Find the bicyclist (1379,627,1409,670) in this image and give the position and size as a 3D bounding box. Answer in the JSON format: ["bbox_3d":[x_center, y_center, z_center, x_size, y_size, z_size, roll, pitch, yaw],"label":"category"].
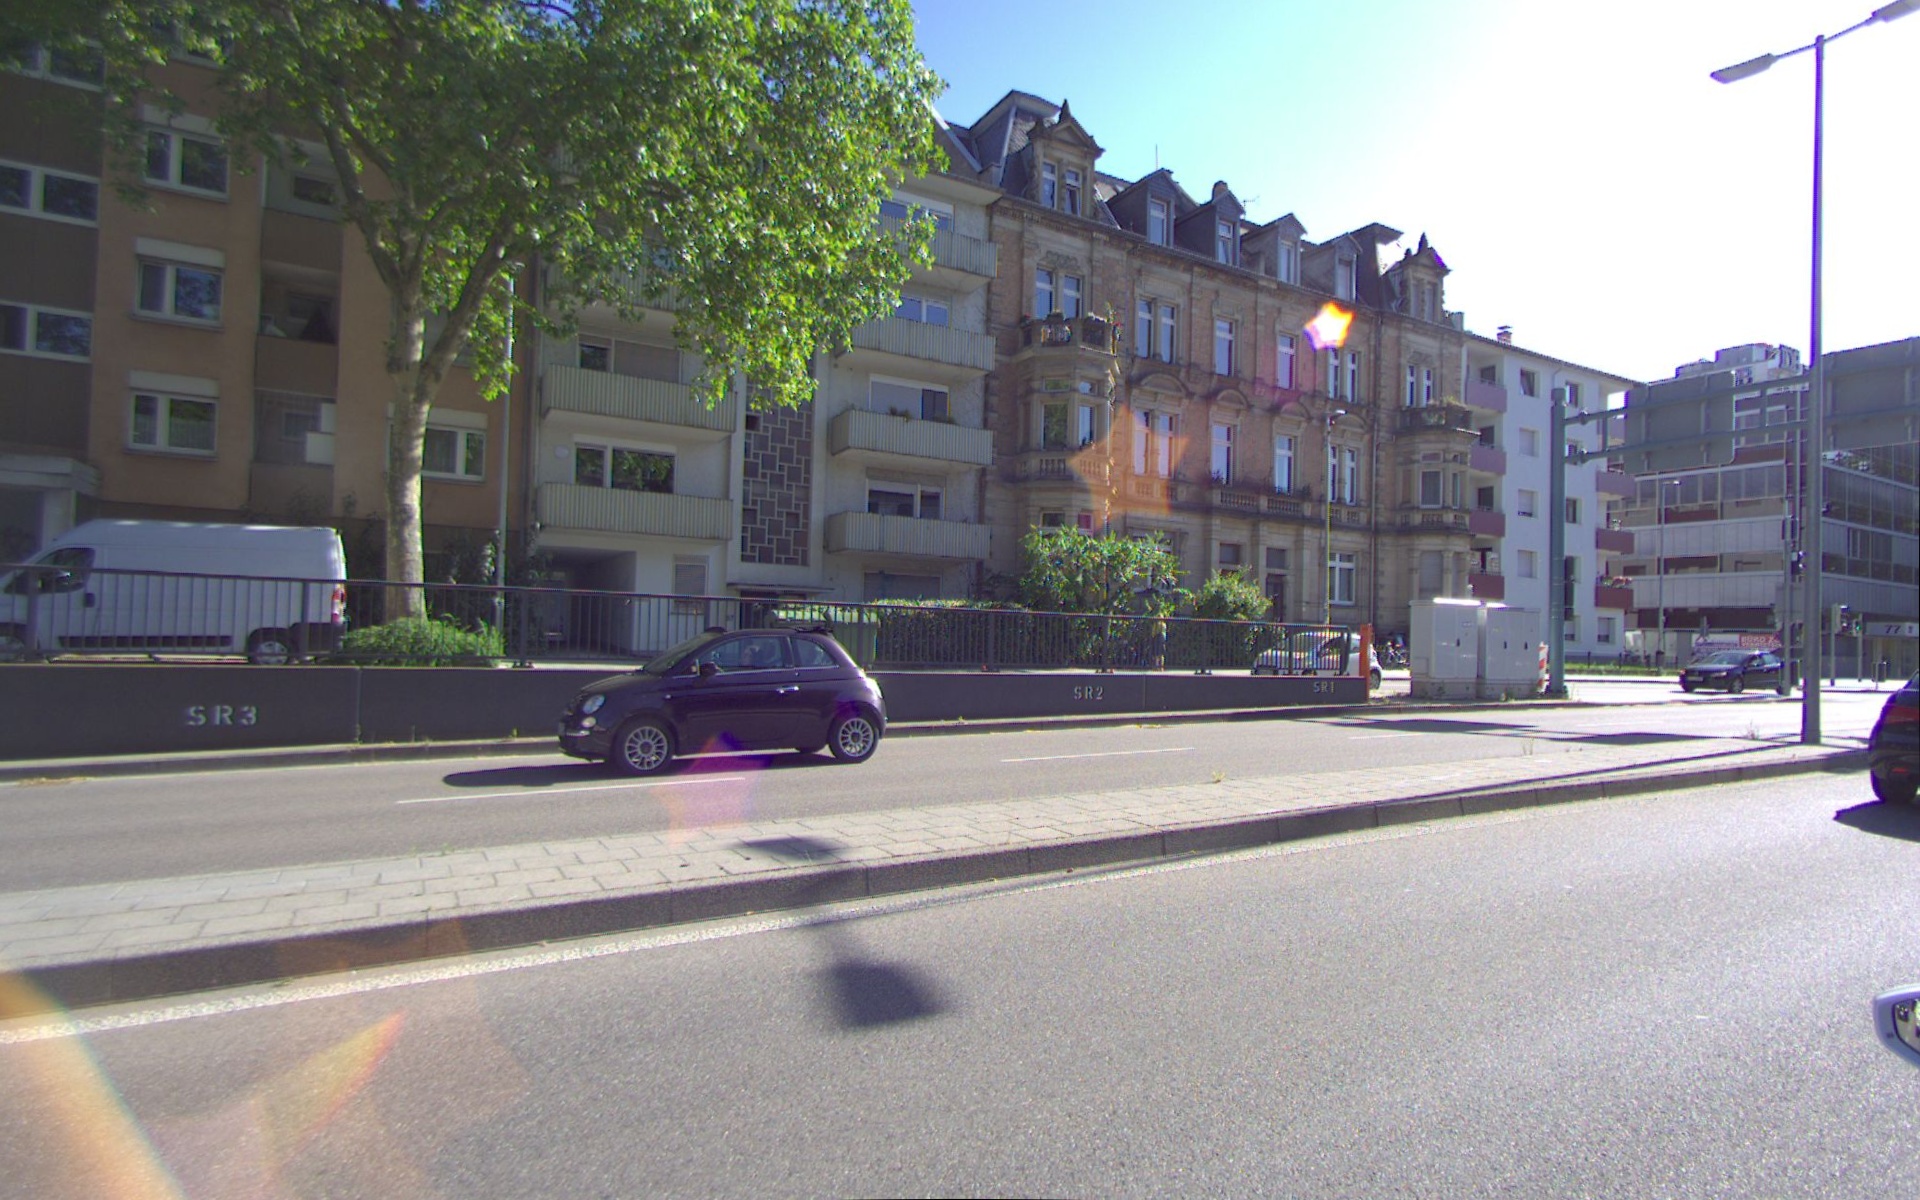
[{"bbox_3d":[17.264,1.927,39.954,0.939,1.681,0.584,2,0,-30],"label":"bicyclist"}]

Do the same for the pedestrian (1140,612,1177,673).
[{"bbox_3d":[5.824,1.245,29.509,0.824,1.729,0.633,2,0,-30],"label":"pedestrian"}]

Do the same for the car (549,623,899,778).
[{"bbox_3d":[-2.560,1.048,11.073,3.456,1.464,1.584,2,-4,-31],"label":"car"}]

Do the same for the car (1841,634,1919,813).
[{"bbox_3d":[9.669,1.082,8.906,3.844,1.437,1.687,2,0,-31],"label":"car"}]

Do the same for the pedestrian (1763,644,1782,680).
[{"bbox_3d":[43.510,3.314,53.773,0.718,1.921,0.652,2,0,-43],"label":"pedestrian"}]

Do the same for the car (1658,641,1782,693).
[{"bbox_3d":[25.655,2.252,33.894,3.875,1.575,1.928,2,0,-29],"label":"car"}]

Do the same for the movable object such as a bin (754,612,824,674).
[{"bbox_3d":[-4.132,1.022,24.275,1.286,1.421,1.273,2,0,-30],"label":"movable object such as a bin"}]

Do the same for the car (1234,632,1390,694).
[{"bbox_3d":[8.800,1.554,25.062,3.569,1.428,1.670,2,-1,-27],"label":"car"}]

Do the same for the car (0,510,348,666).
[{"bbox_3d":[-13.688,-0.144,17.161,5.354,2.391,1.984,2,0,-29],"label":"car"}]

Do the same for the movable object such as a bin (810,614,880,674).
[{"bbox_3d":[-2.847,1.082,24.867,1.309,1.421,1.273,2,0,-30],"label":"movable object such as a bin"}]

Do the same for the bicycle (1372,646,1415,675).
[{"bbox_3d":[17.252,2.415,39.956,1.951,1.119,0.515,2,0,-31],"label":"bicycle"}]
